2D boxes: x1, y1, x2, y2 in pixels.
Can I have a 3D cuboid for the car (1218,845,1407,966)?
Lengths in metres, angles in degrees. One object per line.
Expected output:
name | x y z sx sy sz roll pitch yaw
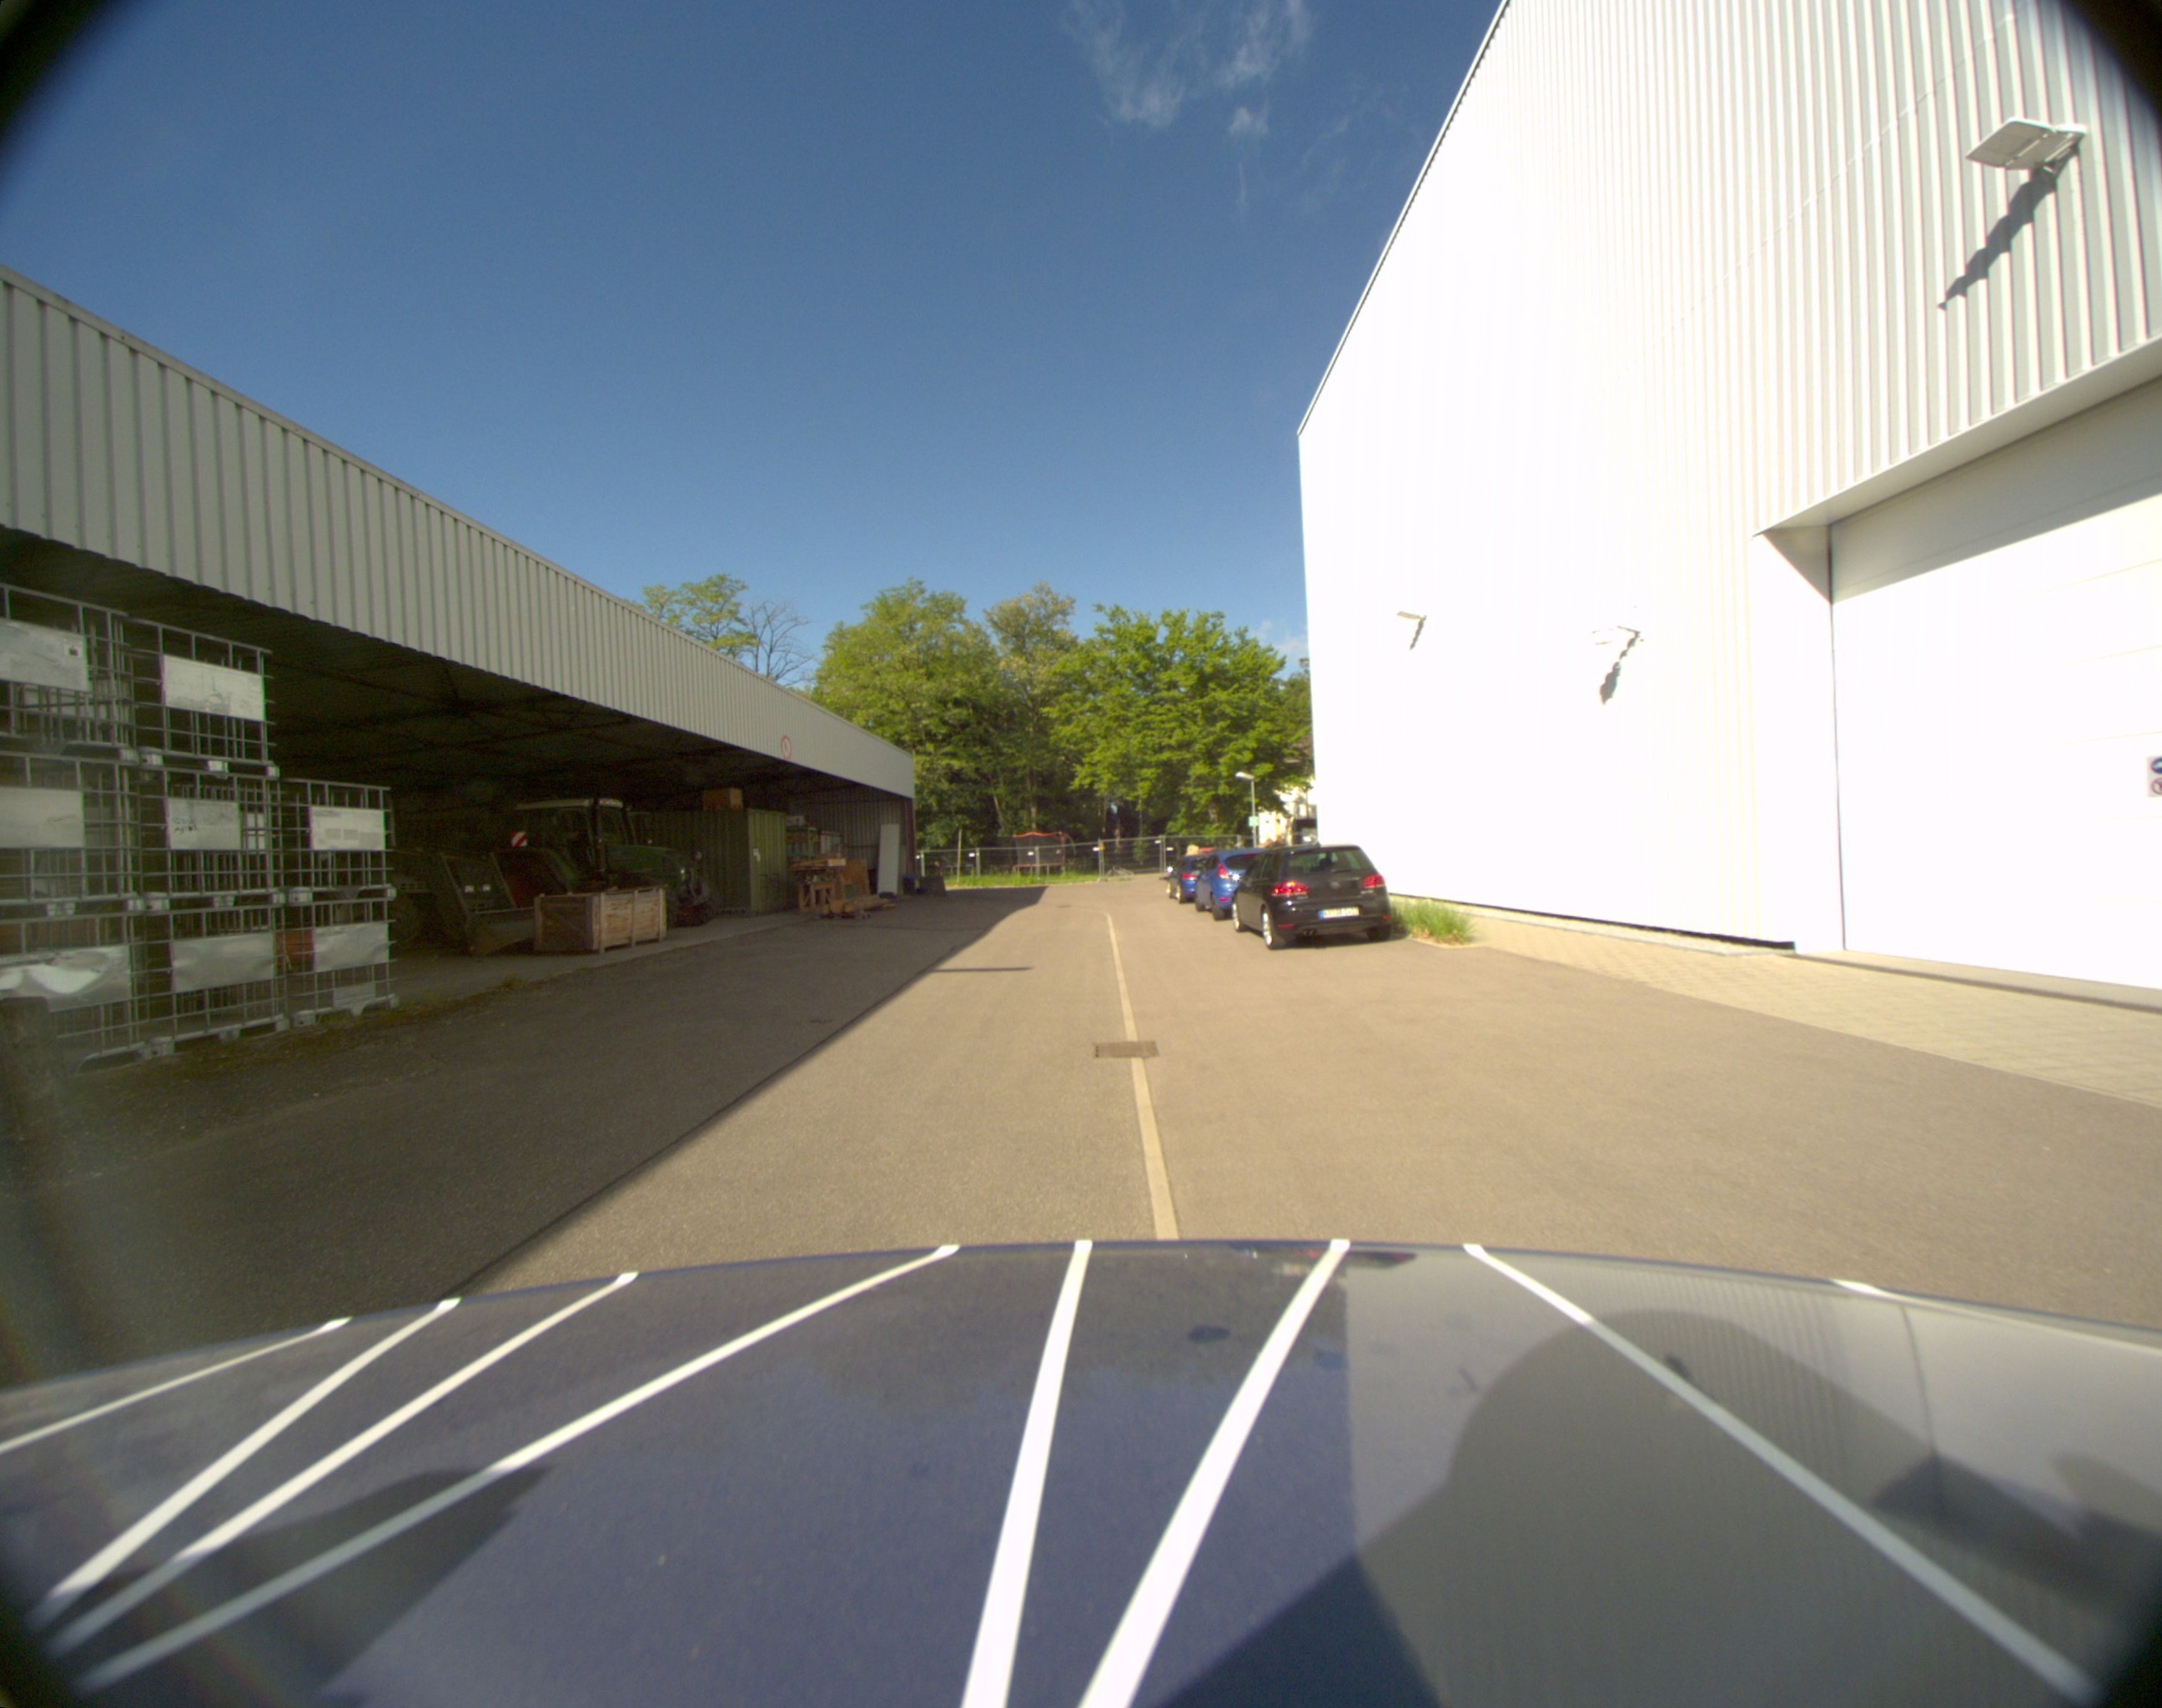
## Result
car | 3.491 0.678 12.325 1.759 1.491 4.294 -4 0 2

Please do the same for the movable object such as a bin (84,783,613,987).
movable object such as a bin | -12.195 0.488 13.165 6.200 2.893 3.016 -2 1 2

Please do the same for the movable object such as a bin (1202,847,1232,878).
movable object such as a bin | 6.814 0.415 38.101 1.093 1.424 1.230 -4 1 -4

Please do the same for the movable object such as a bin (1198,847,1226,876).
movable object such as a bin | 6.798 0.374 39.434 1.093 1.431 1.230 -4 1 -4

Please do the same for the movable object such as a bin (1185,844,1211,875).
movable object such as a bin | 6.355 0.296 41.339 1.093 1.588 1.230 -3 3 -4

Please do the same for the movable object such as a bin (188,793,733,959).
movable object such as a bin | -12.938 0.438 16.485 9.214 2.893 3.212 -2 0 2

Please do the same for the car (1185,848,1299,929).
car | 3.492 0.686 17.222 1.635 1.491 4.094 -5 0 0

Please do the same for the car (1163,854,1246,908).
car | 3.560 0.733 22.584 1.778 1.353 4.053 -3 0 0
